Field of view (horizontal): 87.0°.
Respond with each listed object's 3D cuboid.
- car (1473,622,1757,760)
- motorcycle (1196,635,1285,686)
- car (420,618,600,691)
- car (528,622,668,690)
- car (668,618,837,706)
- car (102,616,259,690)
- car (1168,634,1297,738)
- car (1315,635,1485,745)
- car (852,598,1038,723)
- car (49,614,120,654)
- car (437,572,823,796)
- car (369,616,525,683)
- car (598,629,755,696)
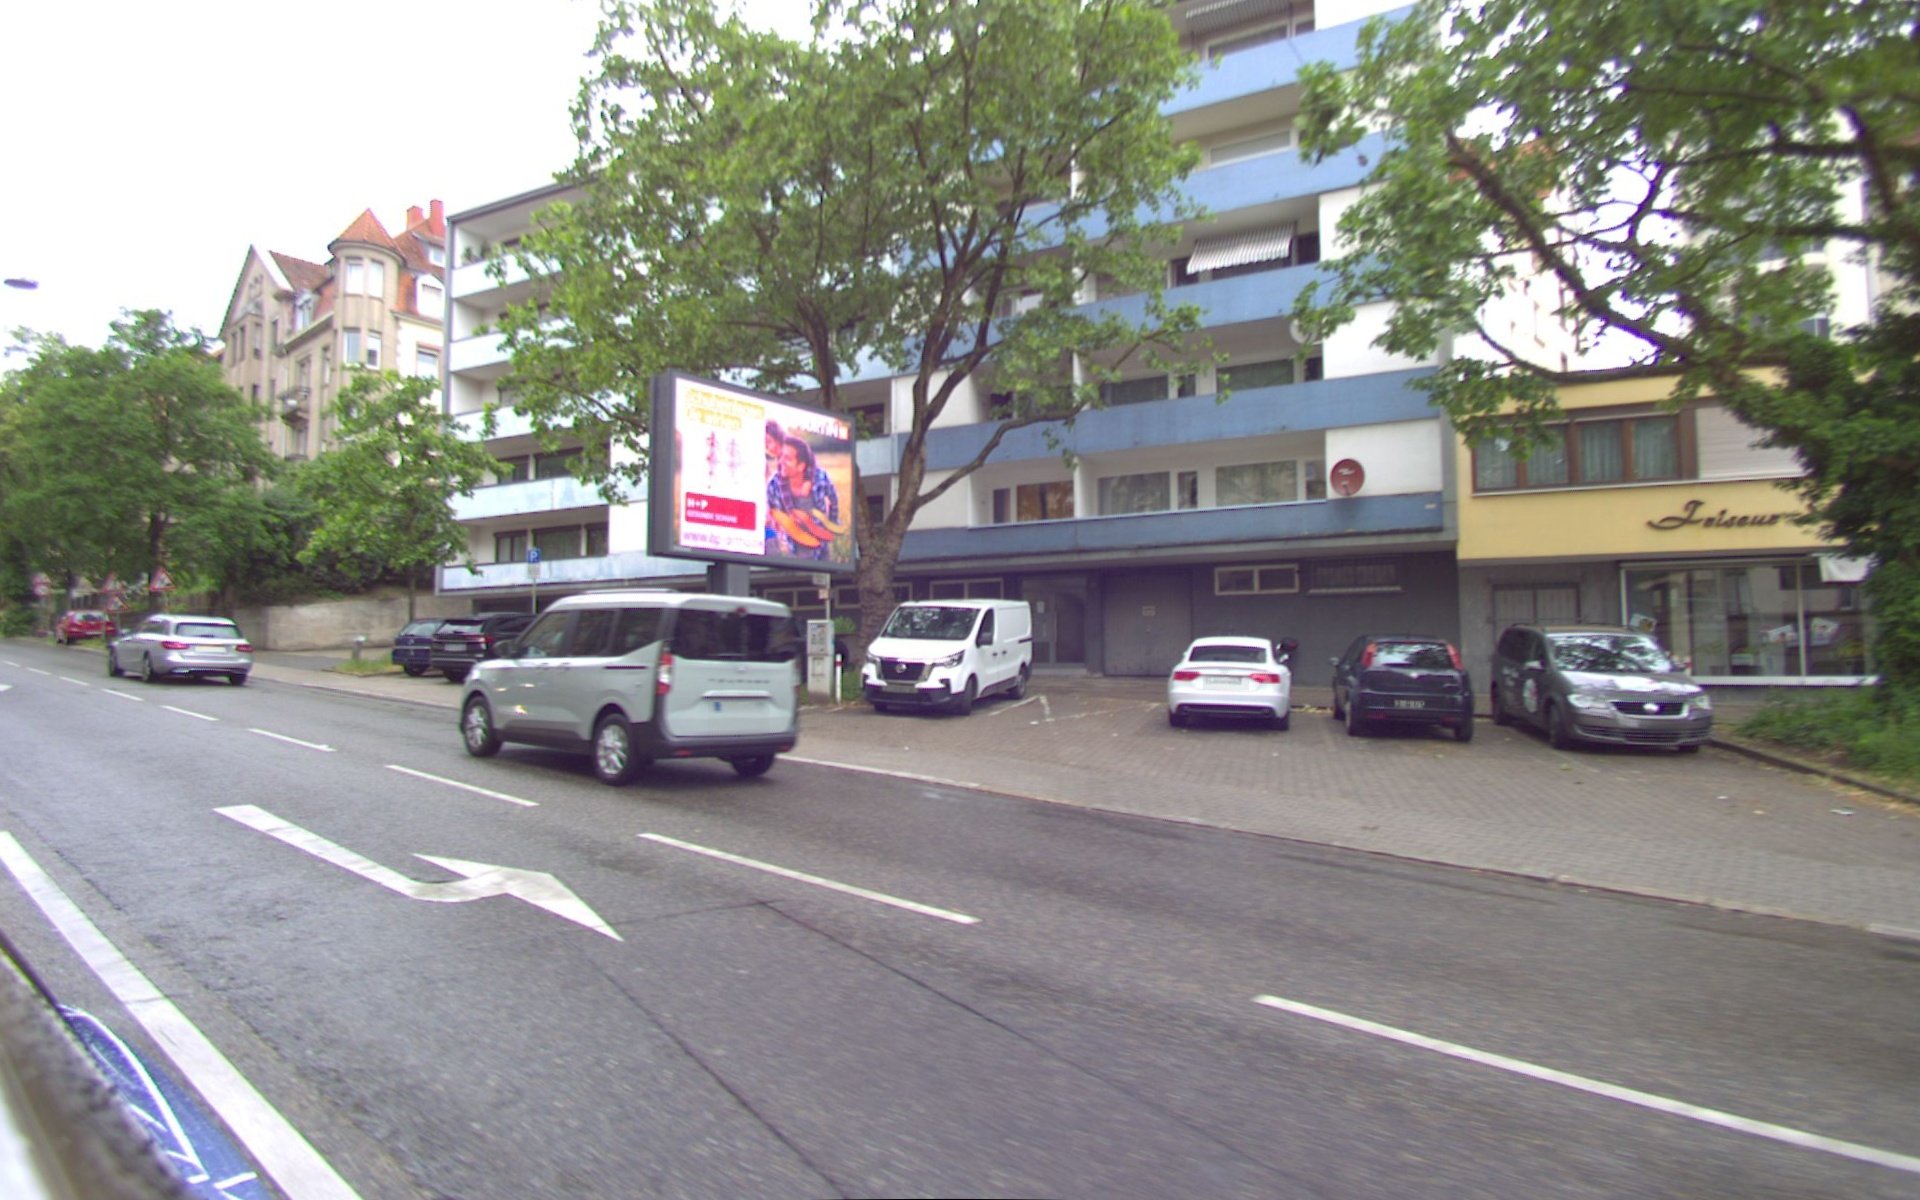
[{"bbox_3d":[9.071,1.147,14.507,1.920,1.655,4.202,0,-1,10],"label":"car"},{"bbox_3d":[6.770,1.444,24.454,1.953,1.176,0.697,0,-2,30],"label":"motorcycle"},{"bbox_3d":[-11.116,1.279,25.346,1.795,1.605,4.289,0,-1,16],"label":"car"},{"bbox_3d":[-8.874,1.318,25.155,1.662,1.416,3.825,0,1,9],"label":"car"},{"bbox_3d":[-4.359,1.278,21.868,1.794,1.702,3.809,0,-2,21],"label":"car"},{"bbox_3d":[-17.295,1.143,22.393,4.321,1.459,1.709,-1,-5,39],"label":"car"},{"bbox_3d":[4.380,1.288,16.450,1.795,1.426,3.687,0,-1,14],"label":"car"},{"bbox_3d":[6.631,1.280,15.633,1.613,1.426,3.610,0,-1,10],"label":"car"},{"bbox_3d":[-0.093,1.022,18.888,1.866,1.992,4.943,0,-1,20],"label":"car"},{"bbox_3d":[-37.072,1.445,42.830,3.885,1.518,1.729,-1,-6,42],"label":"car"},{"bbox_3d":[-3.589,0.819,10.652,4.238,1.896,1.795,-1,-6,40],"label":"car"},{"bbox_3d":[-13.685,1.263,27.260,1.753,1.543,3.822,0,1,12],"label":"car"},{"bbox_3d":[-6.544,1.400,23.786,1.678,1.416,3.812,0,-2,19],"label":"car"}]
